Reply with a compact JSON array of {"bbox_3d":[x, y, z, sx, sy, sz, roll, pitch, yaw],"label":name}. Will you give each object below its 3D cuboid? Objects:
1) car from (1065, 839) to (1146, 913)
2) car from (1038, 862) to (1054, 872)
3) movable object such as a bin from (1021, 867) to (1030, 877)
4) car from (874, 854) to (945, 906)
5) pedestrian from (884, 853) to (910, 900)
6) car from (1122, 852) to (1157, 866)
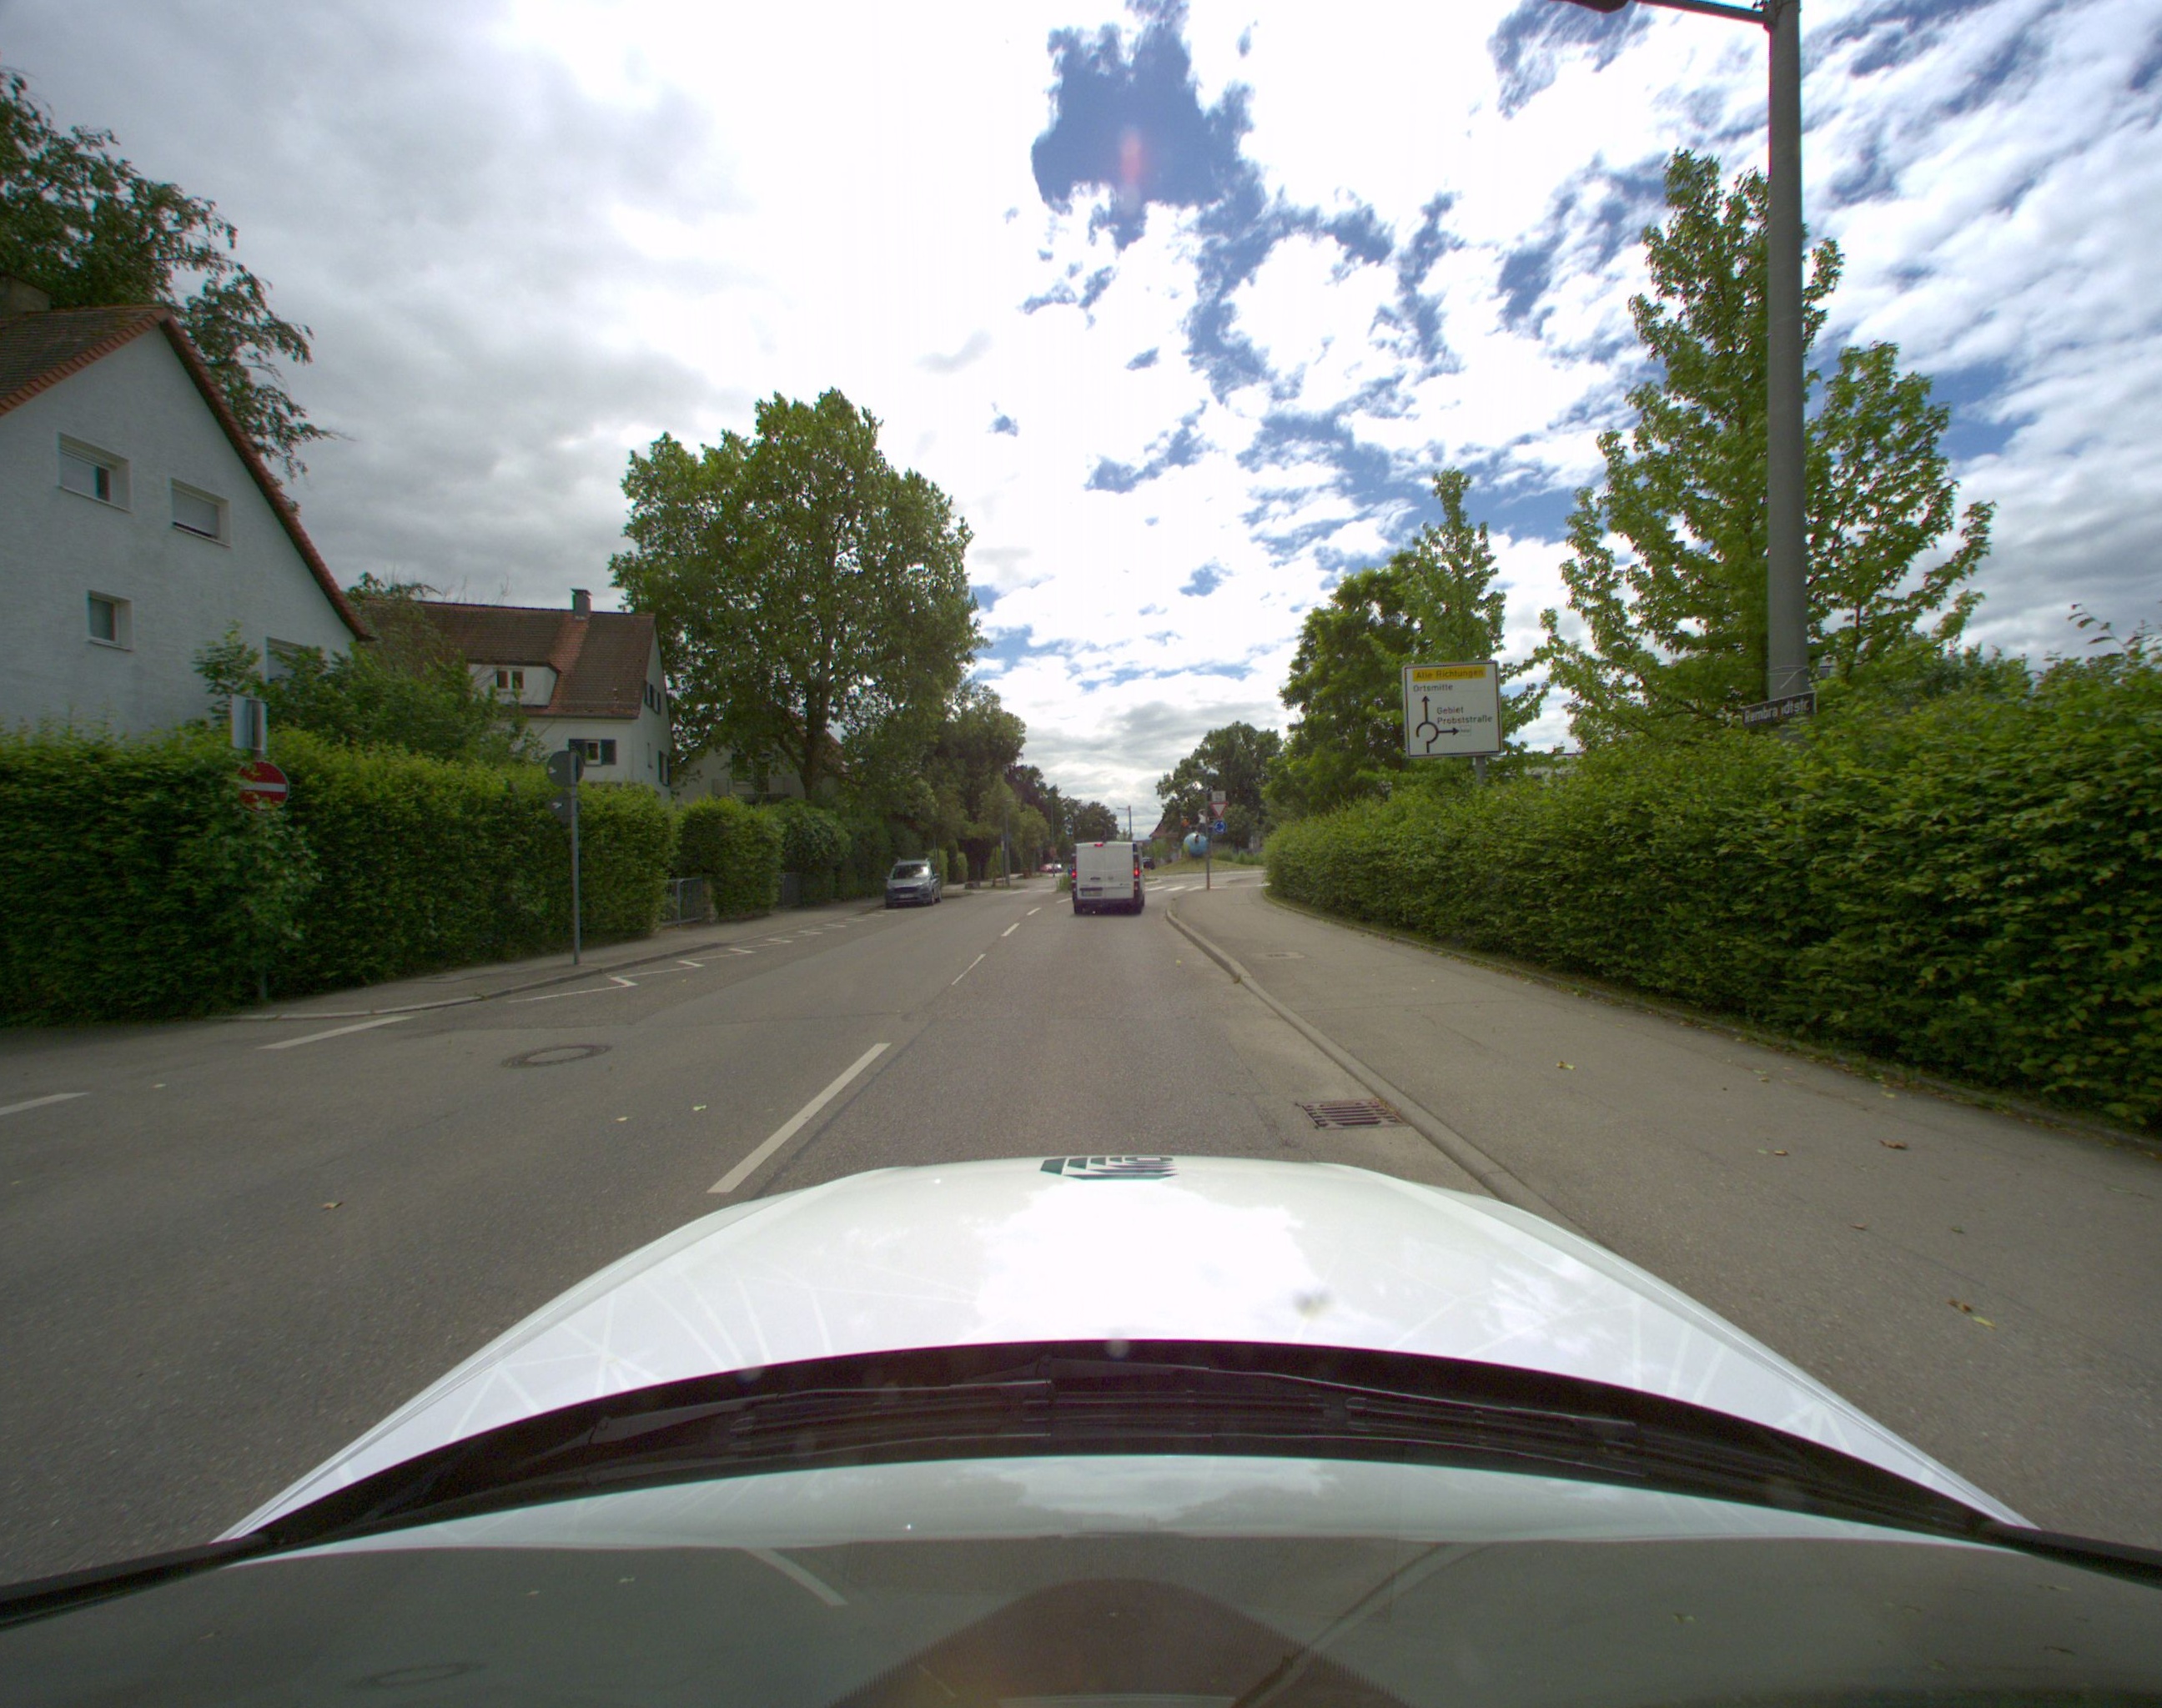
[{"bbox_3d":[0.842,0.563,23.801,2.024,1.945,5.001,0,0,6],"label":"car"},{"bbox_3d":[-5.204,1.919,120.353,2.062,1.386,4.036,-2,1,-8],"label":"car"},{"bbox_3d":[-4.941,1.639,72.907,0.625,0.863,0.642,-3,-1,12],"label":"movable object such as a bin"},{"bbox_3d":[-6.391,0.903,30.754,2.129,1.772,4.456,0,0,-6],"label":"car"},{"bbox_3d":[-8.147,0.993,36.083,0.870,2.013,1.040,-3,0,-3],"label":"pedestrian"},{"bbox_3d":[6.691,0.613,93.394,1.948,1.537,3.881,-2,1,-37],"label":"car"}]
